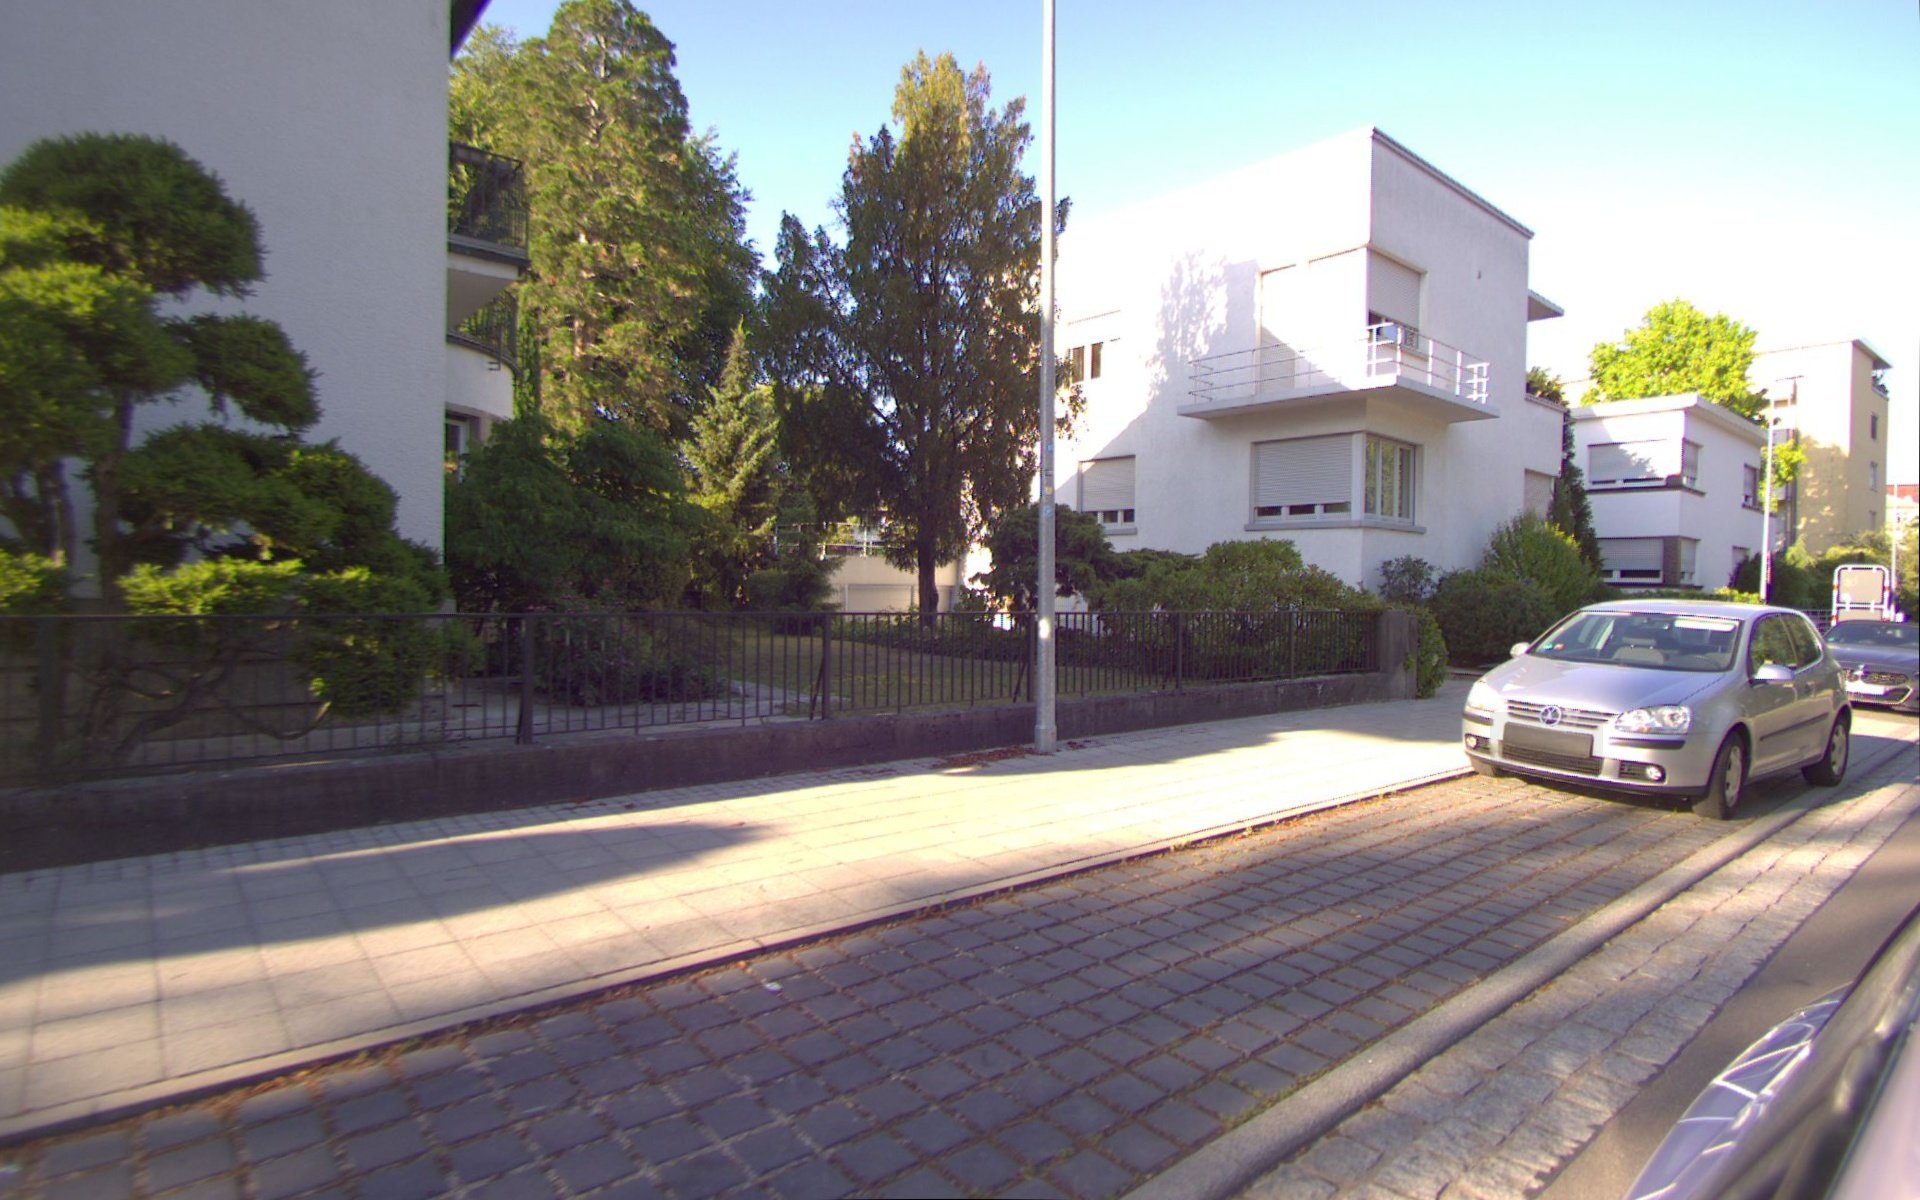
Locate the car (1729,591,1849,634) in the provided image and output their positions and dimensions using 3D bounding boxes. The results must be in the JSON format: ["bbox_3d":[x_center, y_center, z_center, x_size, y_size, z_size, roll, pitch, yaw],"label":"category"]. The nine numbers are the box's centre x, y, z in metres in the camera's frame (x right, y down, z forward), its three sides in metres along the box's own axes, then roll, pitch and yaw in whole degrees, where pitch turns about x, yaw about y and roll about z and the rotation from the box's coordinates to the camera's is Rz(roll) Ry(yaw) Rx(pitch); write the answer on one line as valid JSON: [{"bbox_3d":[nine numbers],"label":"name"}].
[{"bbox_3d":[34.056,0.497,41.636,1.611,1.662,3.507,0,1,-32],"label":"car"}]

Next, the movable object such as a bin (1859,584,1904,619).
[{"bbox_3d":[38.389,0.059,42.173,1.102,1.450,1.240,0,0,-38],"label":"movable object such as a bin"}]

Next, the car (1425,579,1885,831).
[{"bbox_3d":[5.674,0.666,8.144,3.847,1.492,1.751,1,3,-35],"label":"car"}]

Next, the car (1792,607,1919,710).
[{"bbox_3d":[14.411,0.846,15.521,4.196,1.304,1.779,1,3,-40],"label":"car"}]
